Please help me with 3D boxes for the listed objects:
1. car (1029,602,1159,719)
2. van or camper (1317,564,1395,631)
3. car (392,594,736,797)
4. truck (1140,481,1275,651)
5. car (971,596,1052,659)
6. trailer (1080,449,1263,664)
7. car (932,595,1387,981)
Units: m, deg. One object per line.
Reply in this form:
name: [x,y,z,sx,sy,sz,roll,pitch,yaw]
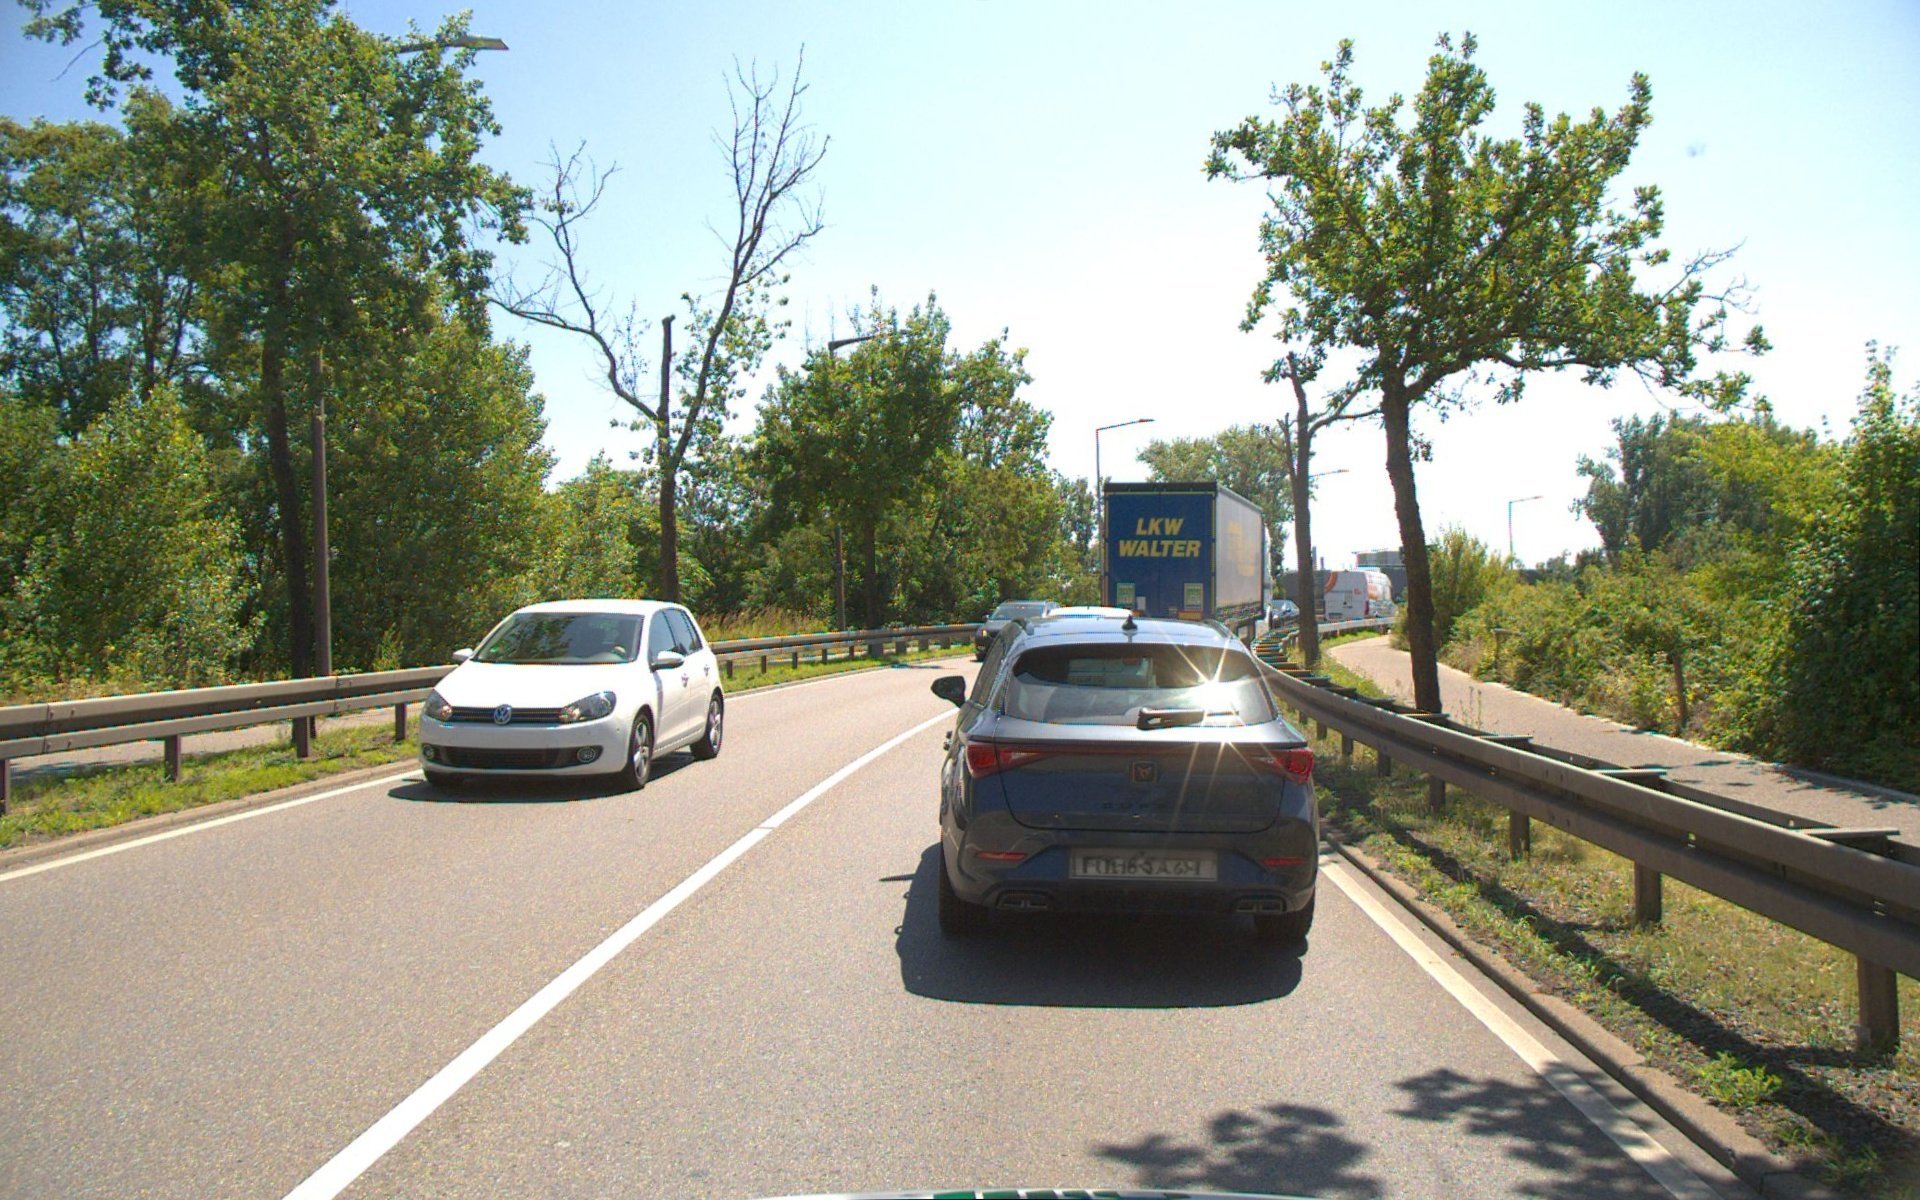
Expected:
car: [1.951,0.782,23.316,1.559,1.486,3.548,1,0,9]
van or camper: [17.074,-0.124,71.124,2.159,2.758,5.922,0,0,25]
car: [-3.214,0.701,14.268,1.688,1.464,4.026,1,0,5]
truck: [7.499,-0.916,49.228,3.103,4.665,7.401,1,0,15]
car: [1.336,0.642,41.268,1.707,1.472,4.520,0,0,6]
trailer: [5.792,-0.961,42.749,3.067,4.694,12.958,1,0,14]
car: [0.766,0.741,8.447,1.808,1.525,3.757,0,0,-1]
